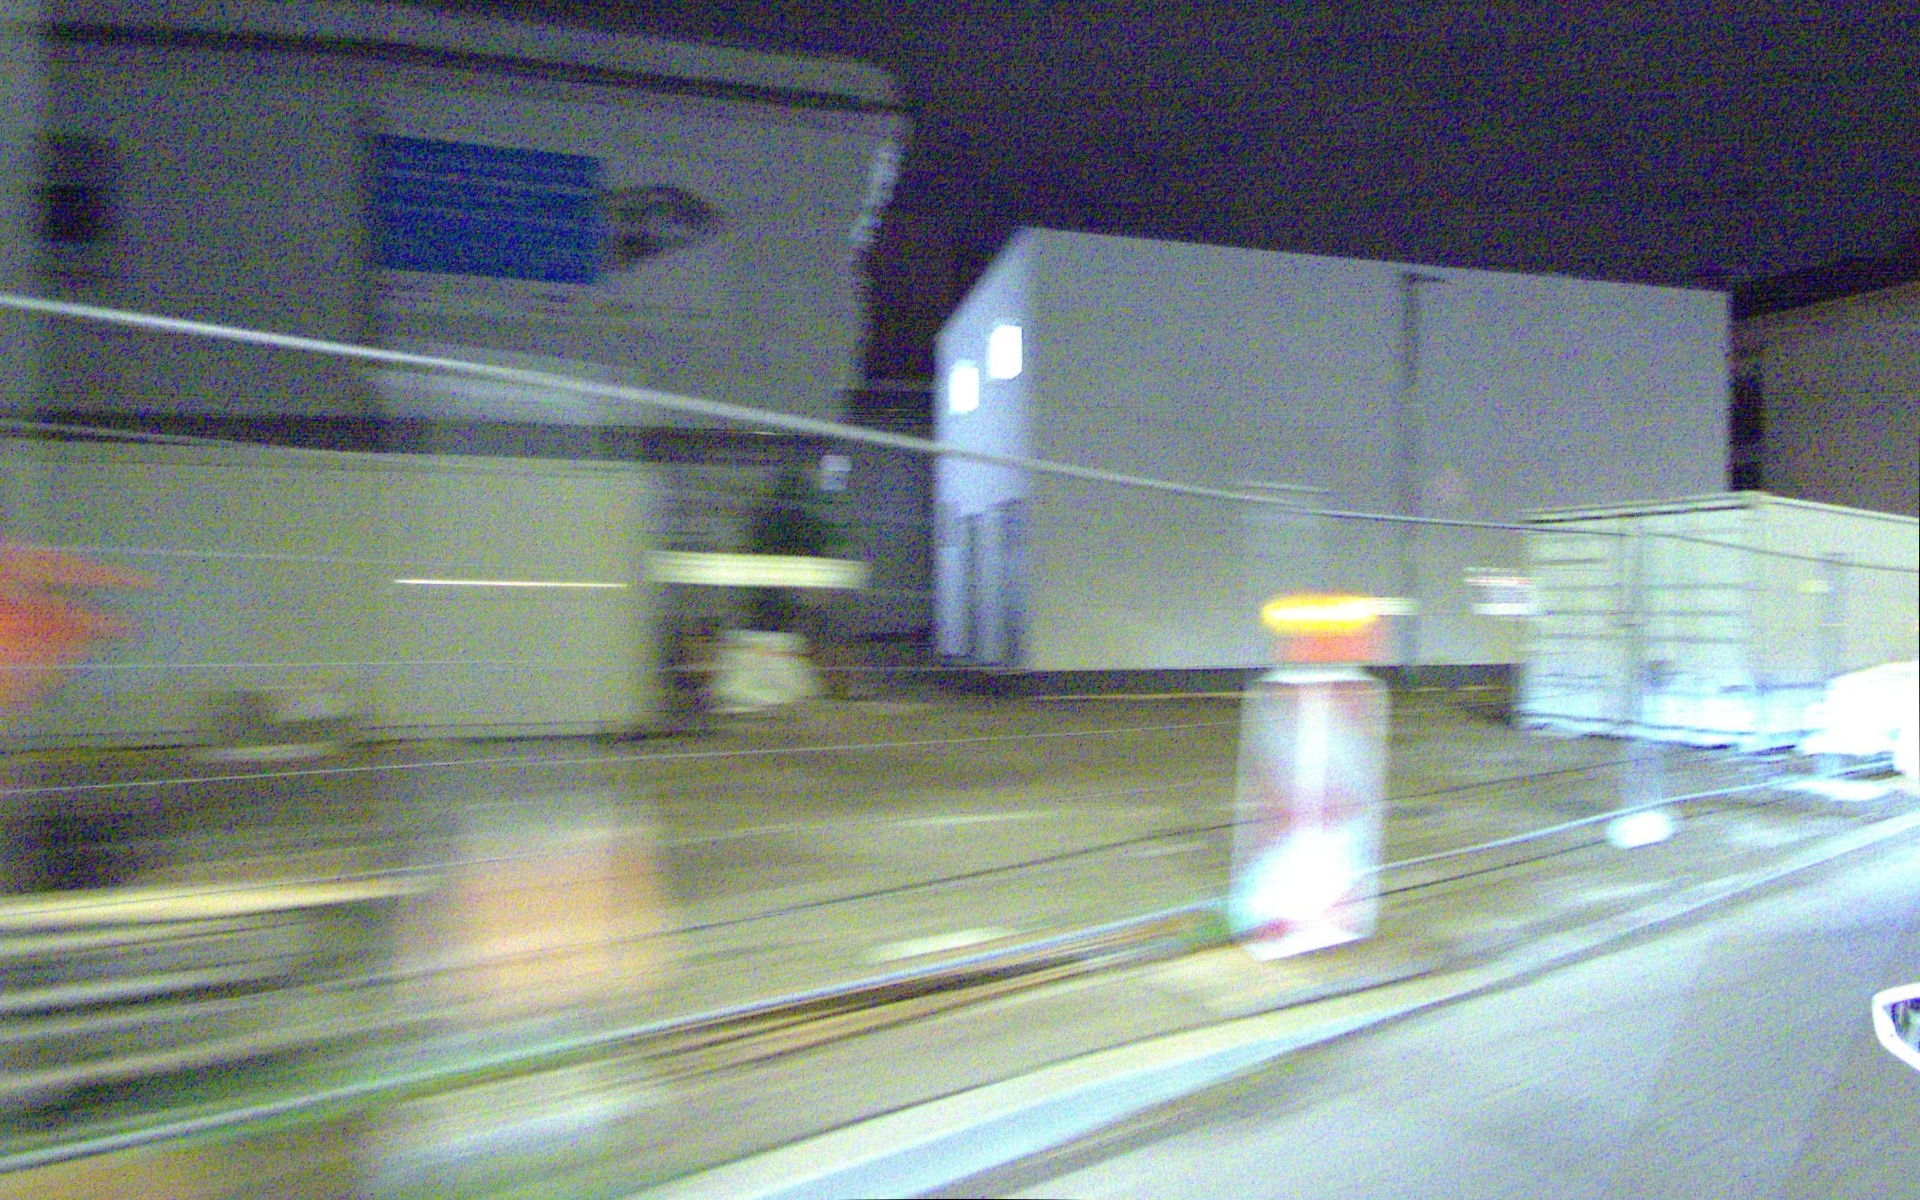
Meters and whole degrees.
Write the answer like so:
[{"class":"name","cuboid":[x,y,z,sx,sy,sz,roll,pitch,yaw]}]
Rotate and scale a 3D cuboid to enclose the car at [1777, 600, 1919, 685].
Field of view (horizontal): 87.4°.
[{"class":"car","cuboid":[22.237,0.985,23.890,1.880,1.914,3.981,1,-1,-20]}]
